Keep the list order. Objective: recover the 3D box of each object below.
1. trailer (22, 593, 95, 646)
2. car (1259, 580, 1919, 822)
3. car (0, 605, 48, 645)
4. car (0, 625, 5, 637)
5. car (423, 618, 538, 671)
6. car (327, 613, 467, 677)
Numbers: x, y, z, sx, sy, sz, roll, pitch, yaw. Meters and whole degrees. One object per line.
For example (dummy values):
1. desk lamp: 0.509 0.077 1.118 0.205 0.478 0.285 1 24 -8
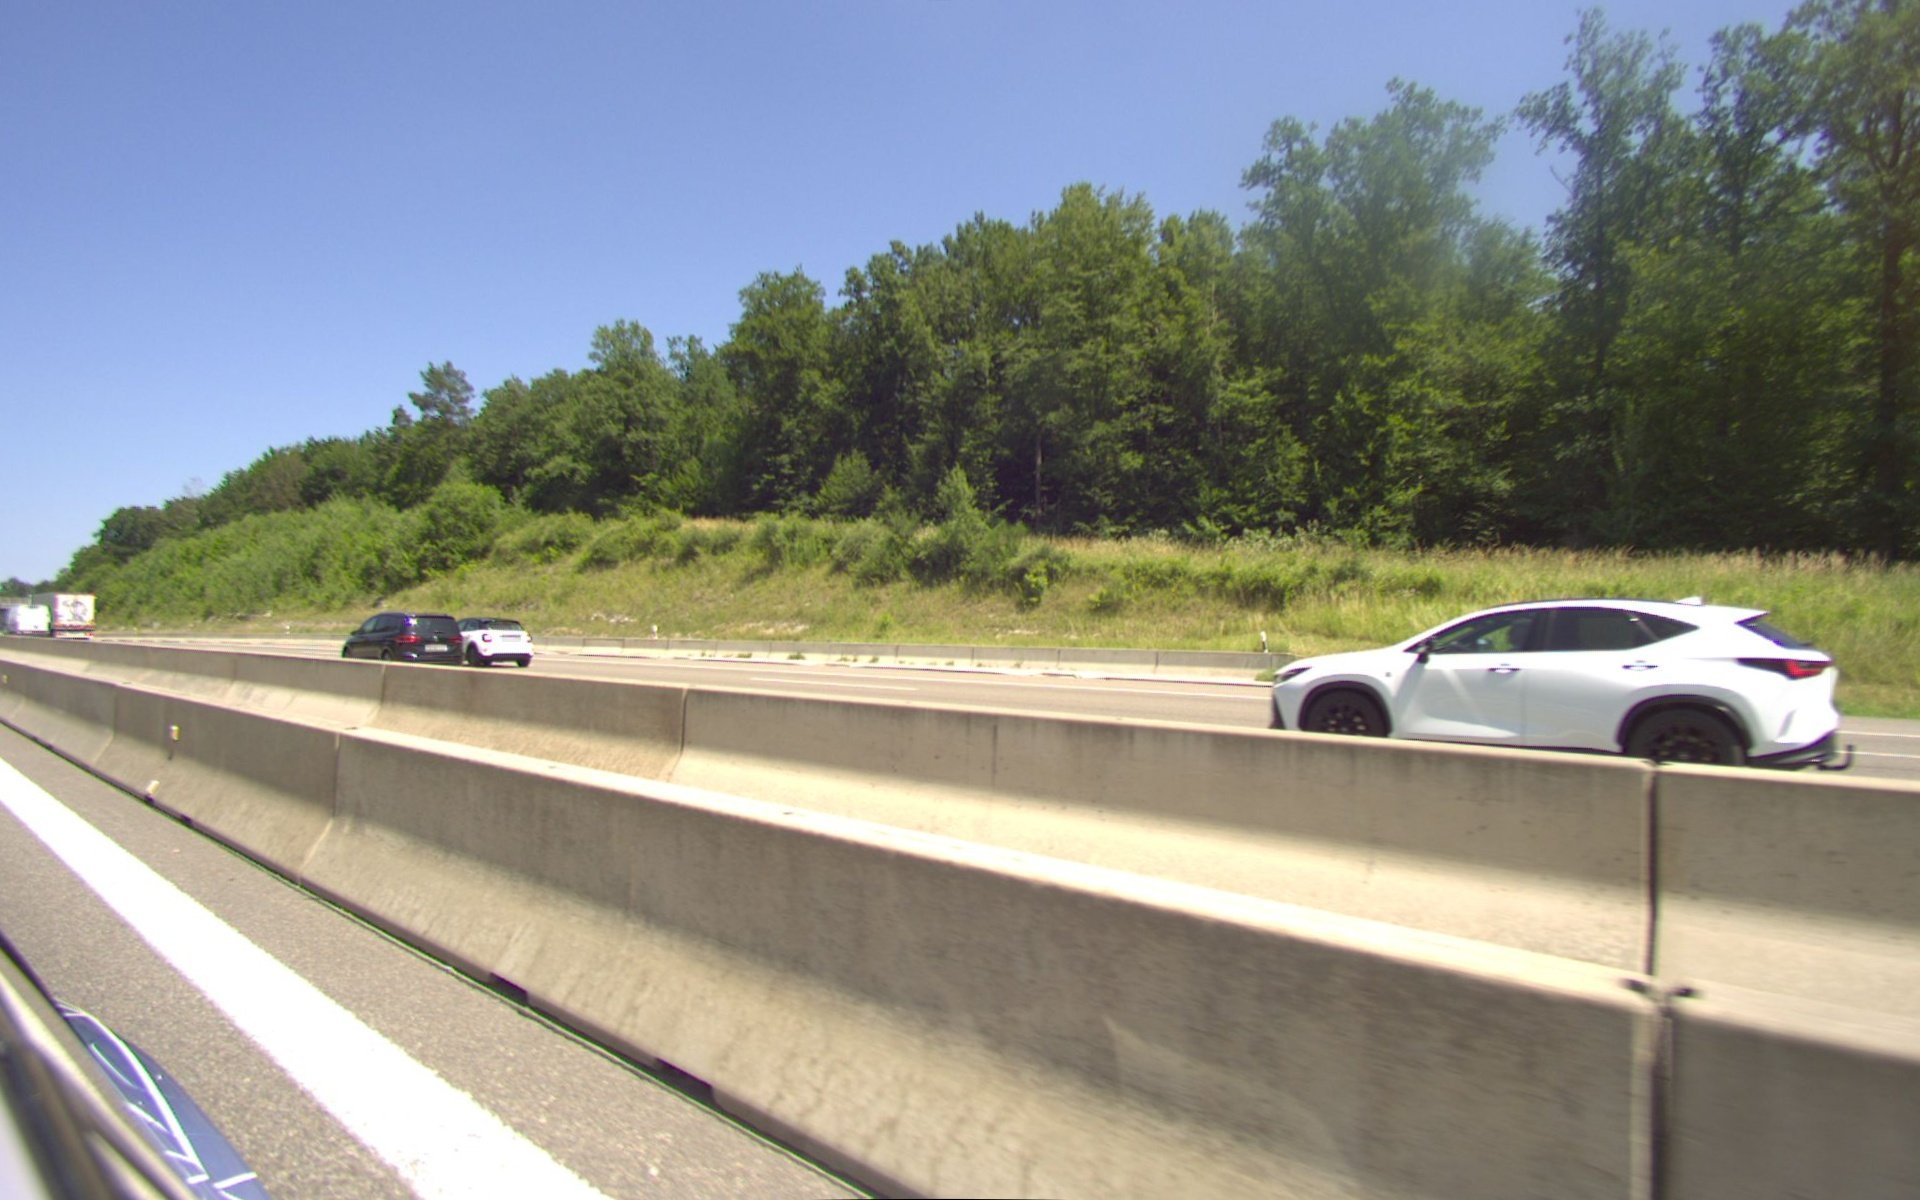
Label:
1. trailer: -75.937 1.675 85.083 13.833 4.115 2.895 -1 -2 41
2. car: 5.519 0.748 9.363 4.927 1.682 1.973 -1 -1 41
3. car: -69.771 1.859 75.177 7.600 2.821 2.063 -1 -3 42
4. car: -110.805 3.551 115.859 4.437 1.418 1.650 -2 -2 41
5. car: -15.465 1.407 32.537 4.421 1.574 1.726 -1 -3 42
6. car: -14.974 1.134 26.789 4.727 1.560 1.782 -1 -2 42
